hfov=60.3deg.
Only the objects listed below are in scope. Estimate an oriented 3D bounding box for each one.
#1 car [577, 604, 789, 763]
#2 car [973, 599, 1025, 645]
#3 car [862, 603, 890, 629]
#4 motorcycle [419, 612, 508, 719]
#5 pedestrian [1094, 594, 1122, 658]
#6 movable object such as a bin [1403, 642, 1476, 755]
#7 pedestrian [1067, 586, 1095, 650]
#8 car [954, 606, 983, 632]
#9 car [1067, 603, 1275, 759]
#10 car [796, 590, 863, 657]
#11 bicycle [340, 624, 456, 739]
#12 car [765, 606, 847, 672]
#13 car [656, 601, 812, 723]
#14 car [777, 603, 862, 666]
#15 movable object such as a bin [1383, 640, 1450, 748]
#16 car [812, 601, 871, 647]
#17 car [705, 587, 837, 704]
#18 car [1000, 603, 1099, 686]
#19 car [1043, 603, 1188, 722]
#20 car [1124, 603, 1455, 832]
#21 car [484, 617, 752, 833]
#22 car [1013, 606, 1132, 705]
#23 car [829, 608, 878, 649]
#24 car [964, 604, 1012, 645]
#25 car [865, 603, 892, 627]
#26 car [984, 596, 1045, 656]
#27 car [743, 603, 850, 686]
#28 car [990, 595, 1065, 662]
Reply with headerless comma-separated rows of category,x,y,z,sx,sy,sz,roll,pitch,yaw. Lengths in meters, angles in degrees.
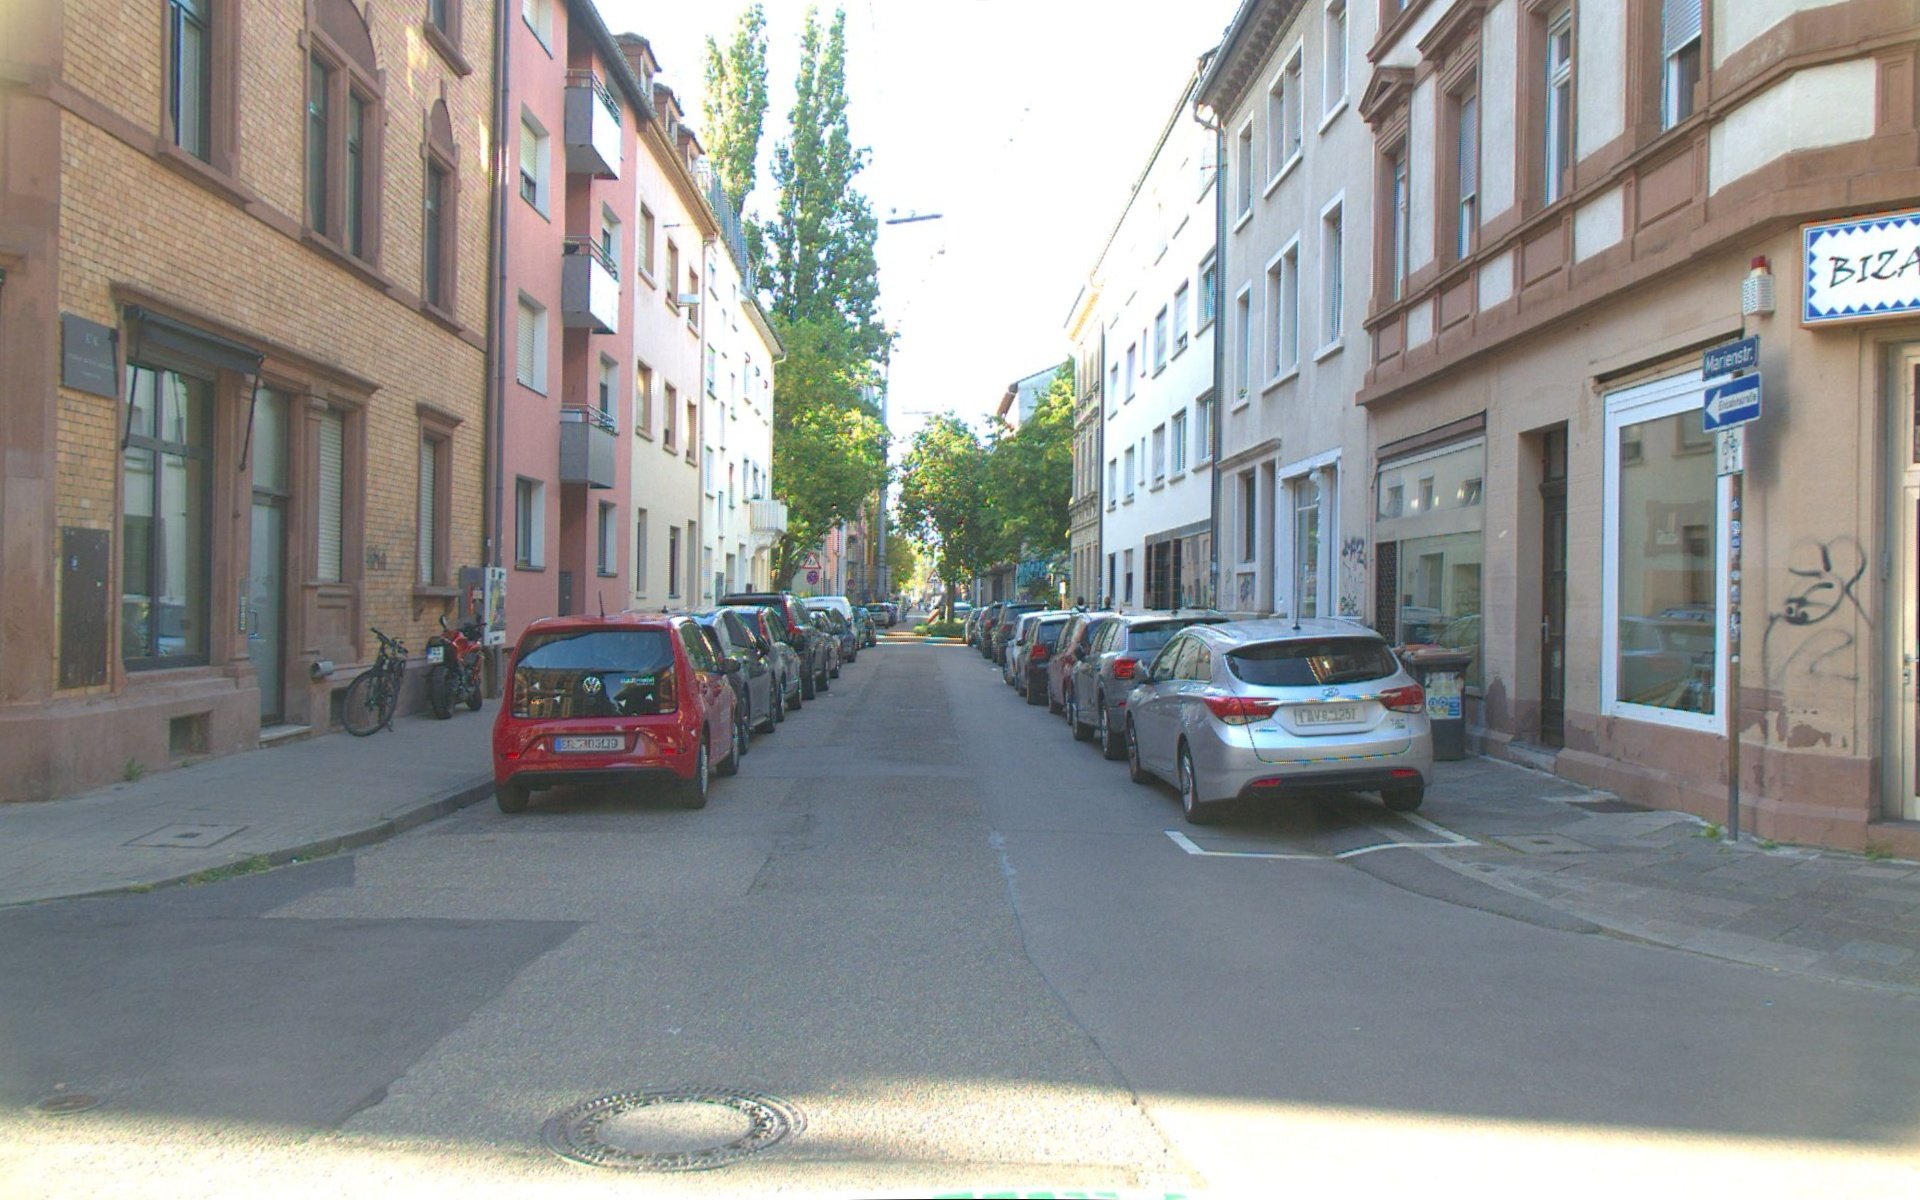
car,-3.019,0.846,18.798,1.660,1.548,4.096,-1,0,0
car,1.383,0.768,59.970,1.642,1.588,3.794,-1,0,-2
car,-5.165,0.948,102.334,1.642,1.513,4.093,-1,0,-2
motorcycle,-5.990,0.764,20.039,0.522,1.227,1.908,1,0,-1
pedestrian,3.940,0.679,44.002,0.672,1.689,0.717,0,0,-2
movable object such as a bin,4.685,0.957,16.186,0.503,1.058,0.619,-1,0,-1
pedestrian,3.216,0.470,44.031,0.672,1.689,0.717,0,0,-2
car,0.503,1.184,104.028,1.642,1.513,3.636,-1,0,-2
car,2.286,0.825,18.896,1.709,1.533,4.019,-1,0,-2
car,-3.768,0.655,48.314,1.729,1.816,4.037,-1,0,-2
bicycle,-5.954,0.839,17.620,0.522,1.092,1.890,5,0,-1
car,-3.602,0.884,39.264,1.640,1.412,4.180,-1,0,-2
car,-3.128,0.810,23.540,1.622,1.548,3.944,-1,0,0
car,-3.660,0.874,43.656,1.638,1.512,3.993,-1,0,4
movable object such as a bin,4.670,0.953,16.939,0.503,1.058,0.594,-1,0,-1
car,-4.060,0.800,57.056,1.635,1.495,3.821,-1,0,2
car,-3.213,0.723,28.960,1.708,1.842,4.672,-1,0,0
car,1.756,0.856,33.586,1.642,1.533,3.936,-1,0,-2
car,2.187,0.844,24.265,1.566,1.533,4.183,-1,0,-2
car,2.510,0.820,13.684,1.709,1.533,4.356,-1,0,-2
car,-2.747,0.939,13.993,1.595,1.507,3.599,-1,0,-2
car,1.895,0.904,28.790,1.642,1.533,3.936,-1,0,-2
car,-3.906,1.035,61.278,1.636,1.385,4.047,-1,0,-2
car,1.073,0.936,64.865,1.642,1.513,4.093,-1,0,-2
car,-5.295,0.955,107.700,1.642,1.513,4.093,-1,0,-2
car,1.619,0.773,50.311,1.641,1.711,4.094,-1,-1,0
car,-3.317,0.869,34.242,1.708,1.533,4.346,-1,0,0
car,1.811,0.744,45.353,1.642,1.655,4.248,-3,0,-2
